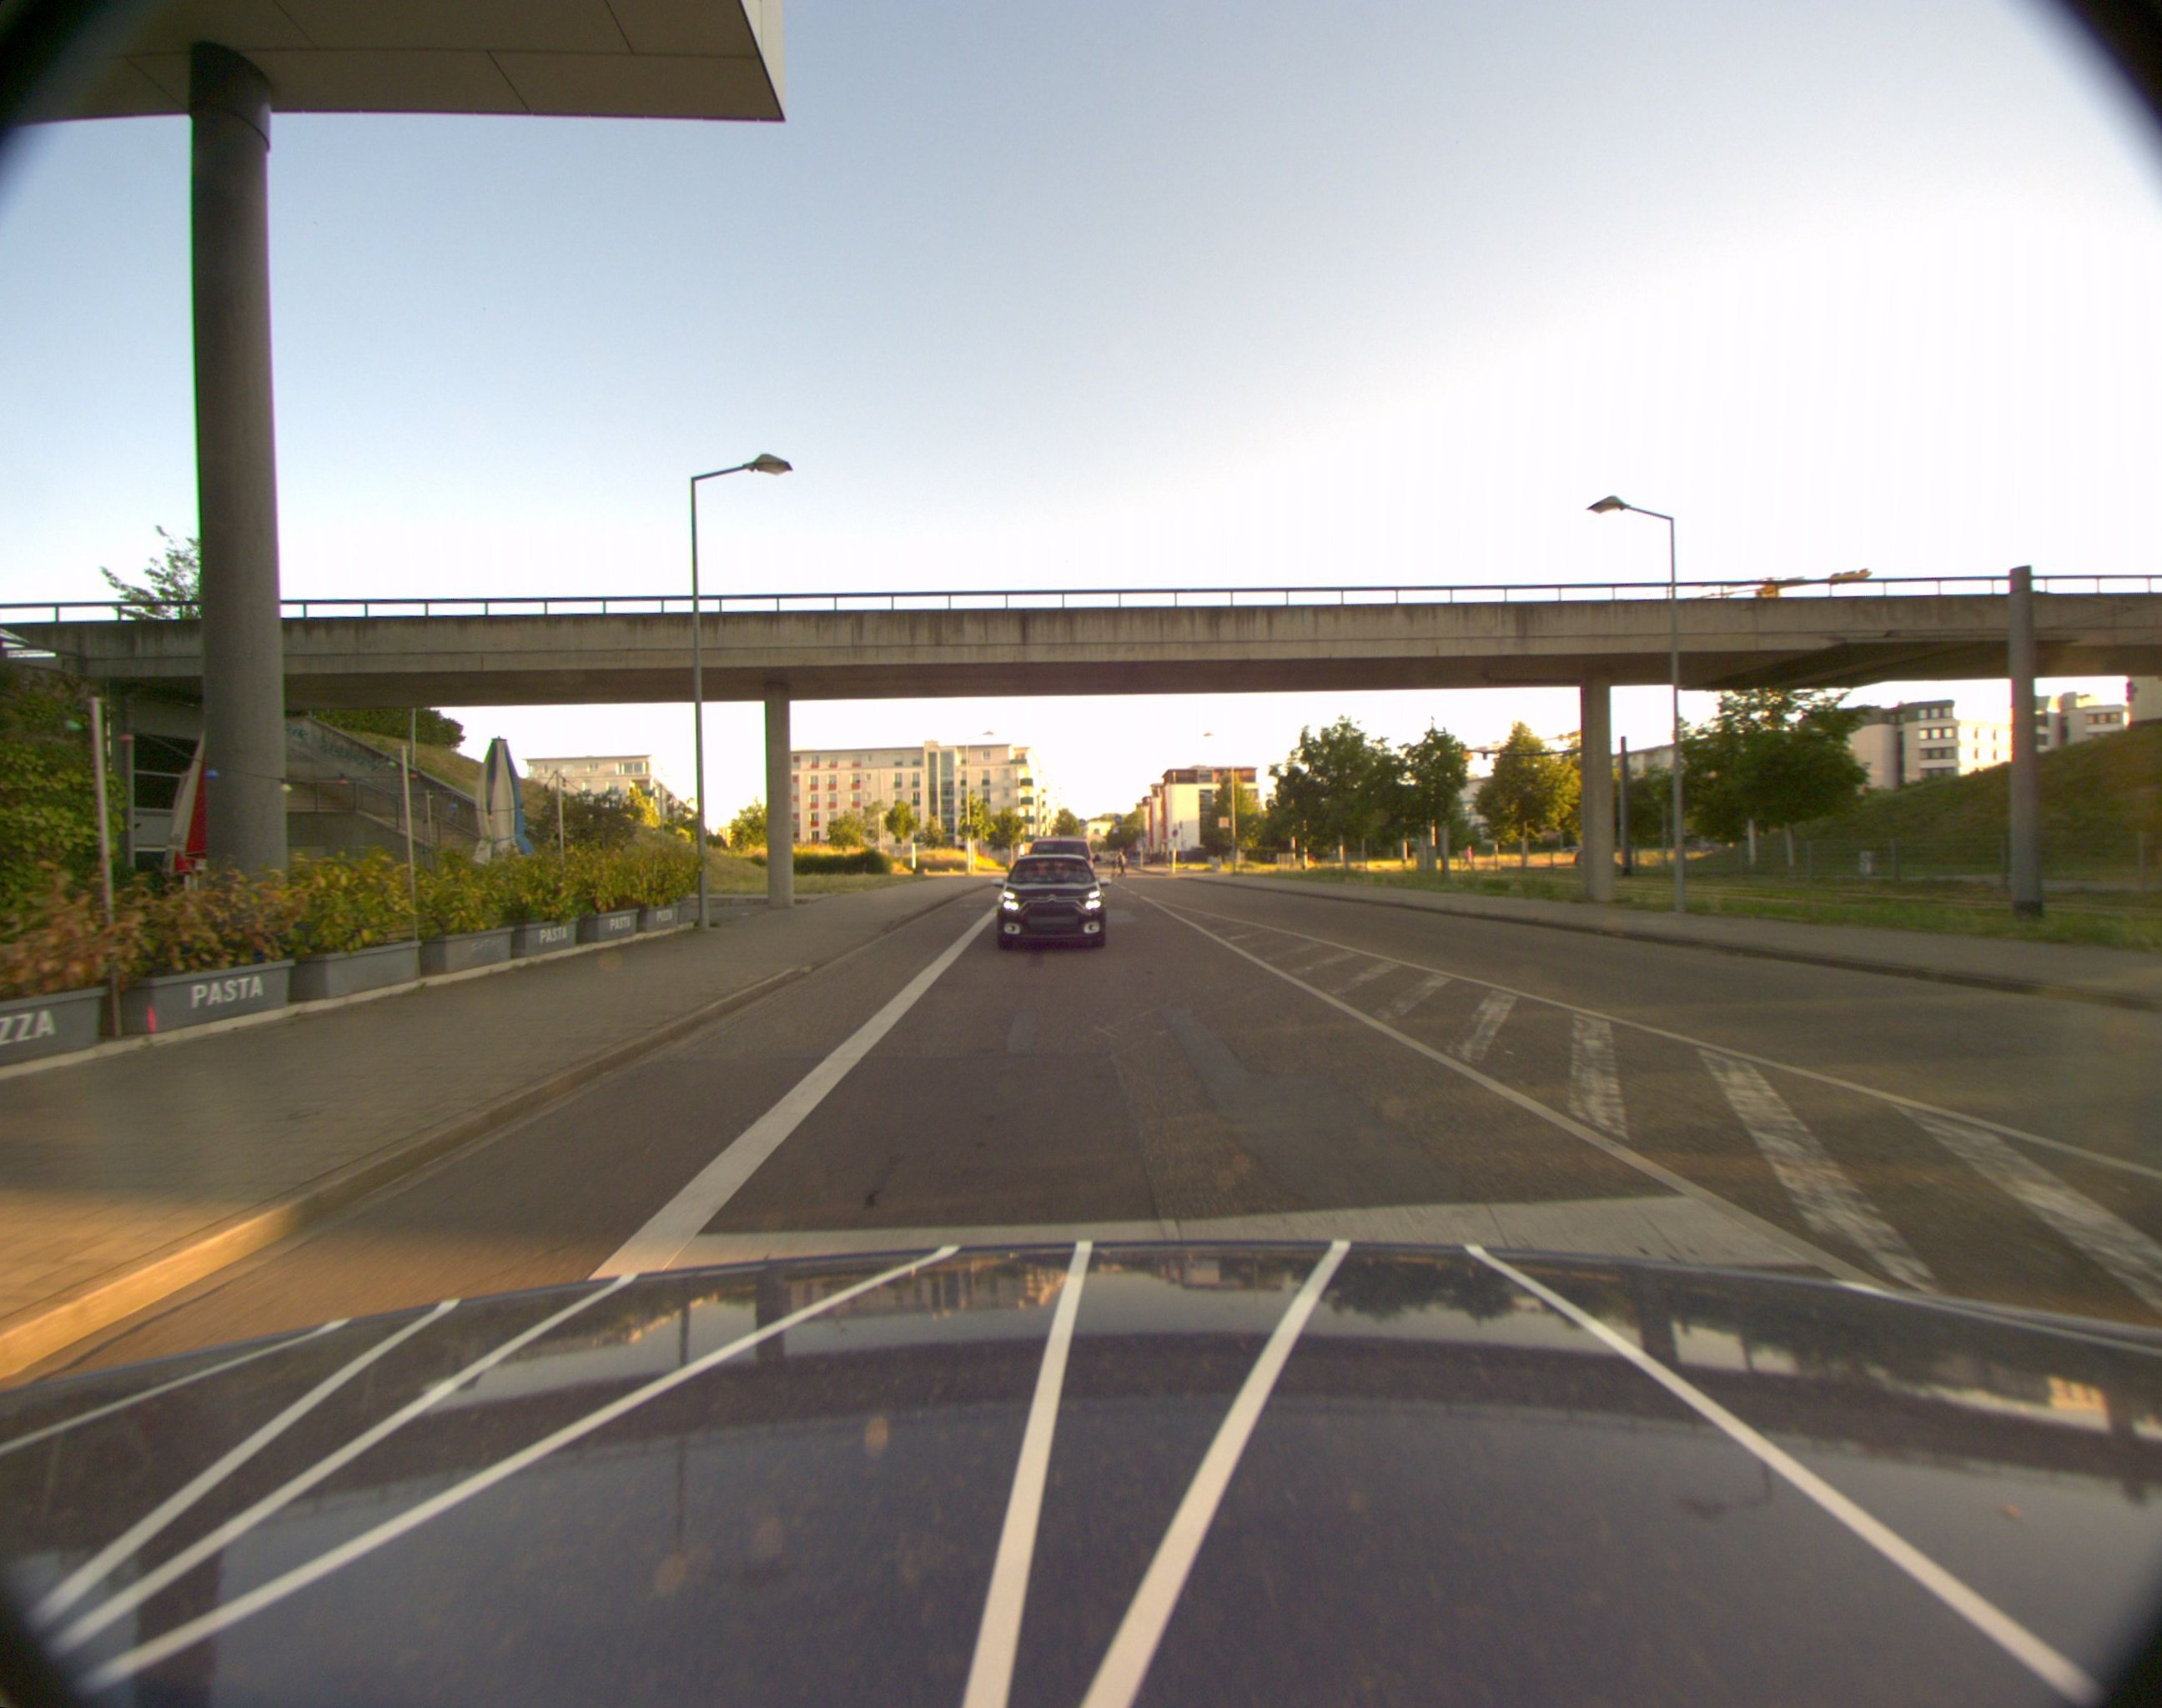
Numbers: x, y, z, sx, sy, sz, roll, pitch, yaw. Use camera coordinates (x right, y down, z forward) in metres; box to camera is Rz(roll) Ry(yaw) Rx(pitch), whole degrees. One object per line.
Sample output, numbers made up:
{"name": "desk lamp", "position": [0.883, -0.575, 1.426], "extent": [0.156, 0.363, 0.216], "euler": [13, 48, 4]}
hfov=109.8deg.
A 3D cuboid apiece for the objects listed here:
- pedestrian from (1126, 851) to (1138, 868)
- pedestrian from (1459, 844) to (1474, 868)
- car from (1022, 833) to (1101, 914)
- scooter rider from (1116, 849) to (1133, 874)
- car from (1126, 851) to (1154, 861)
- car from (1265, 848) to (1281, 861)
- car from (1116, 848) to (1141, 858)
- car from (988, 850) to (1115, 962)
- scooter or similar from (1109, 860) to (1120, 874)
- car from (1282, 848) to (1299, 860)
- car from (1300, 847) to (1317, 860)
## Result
{"name": "pedestrian", "position": [6.075, 0.656, 90.735], "extent": [1.088, 2.002, 1.141], "euler": [-1, 2, 28]}
{"name": "pedestrian", "position": [25.682, 0.118, 50.598], "extent": [0.779, 1.602, 0.417], "euler": [-1, 1, 11]}
{"name": "car", "position": [-0.553, 0.488, 21.478], "extent": [1.931, 1.979, 4.821], "euler": [-2, 0, -2]}
{"name": "scooter rider", "position": [2.849, 0.478, 49.728], "extent": [0.897, 1.568, 0.712], "euler": [-1, 1, 17]}
{"name": "car", "position": [9.498, 0.277, 123.258], "extent": [4.387, 1.551, 1.839], "euler": [-1, 1, 1]}
{"name": "car", "position": [26.946, 0.051, 106.780], "extent": [1.869, 1.711, 3.848], "euler": [-1, 0, 11]}
{"name": "car", "position": [9.600, -0.191, 153.437], "extent": [4.746, 2.002, 1.999], "euler": [-1, 1, -3]}
{"name": "car", "position": [-0.503, 0.732, 12.762], "extent": [1.760, 1.543, 4.071], "euler": [-1, 0, -3]}
{"name": "scooter or similar", "position": [2.218, 0.837, 49.936], "extent": [0.552, 0.890, 0.723], "euler": [0, 2, 18]}
{"name": "car", "position": [29.325, -0.009, 106.453], "extent": [1.869, 1.711, 3.847], "euler": [-1, 0, 8]}
{"name": "car", "position": [31.841, -0.069, 106.222], "extent": [1.869, 1.711, 3.848], "euler": [-1, 0, 11]}
